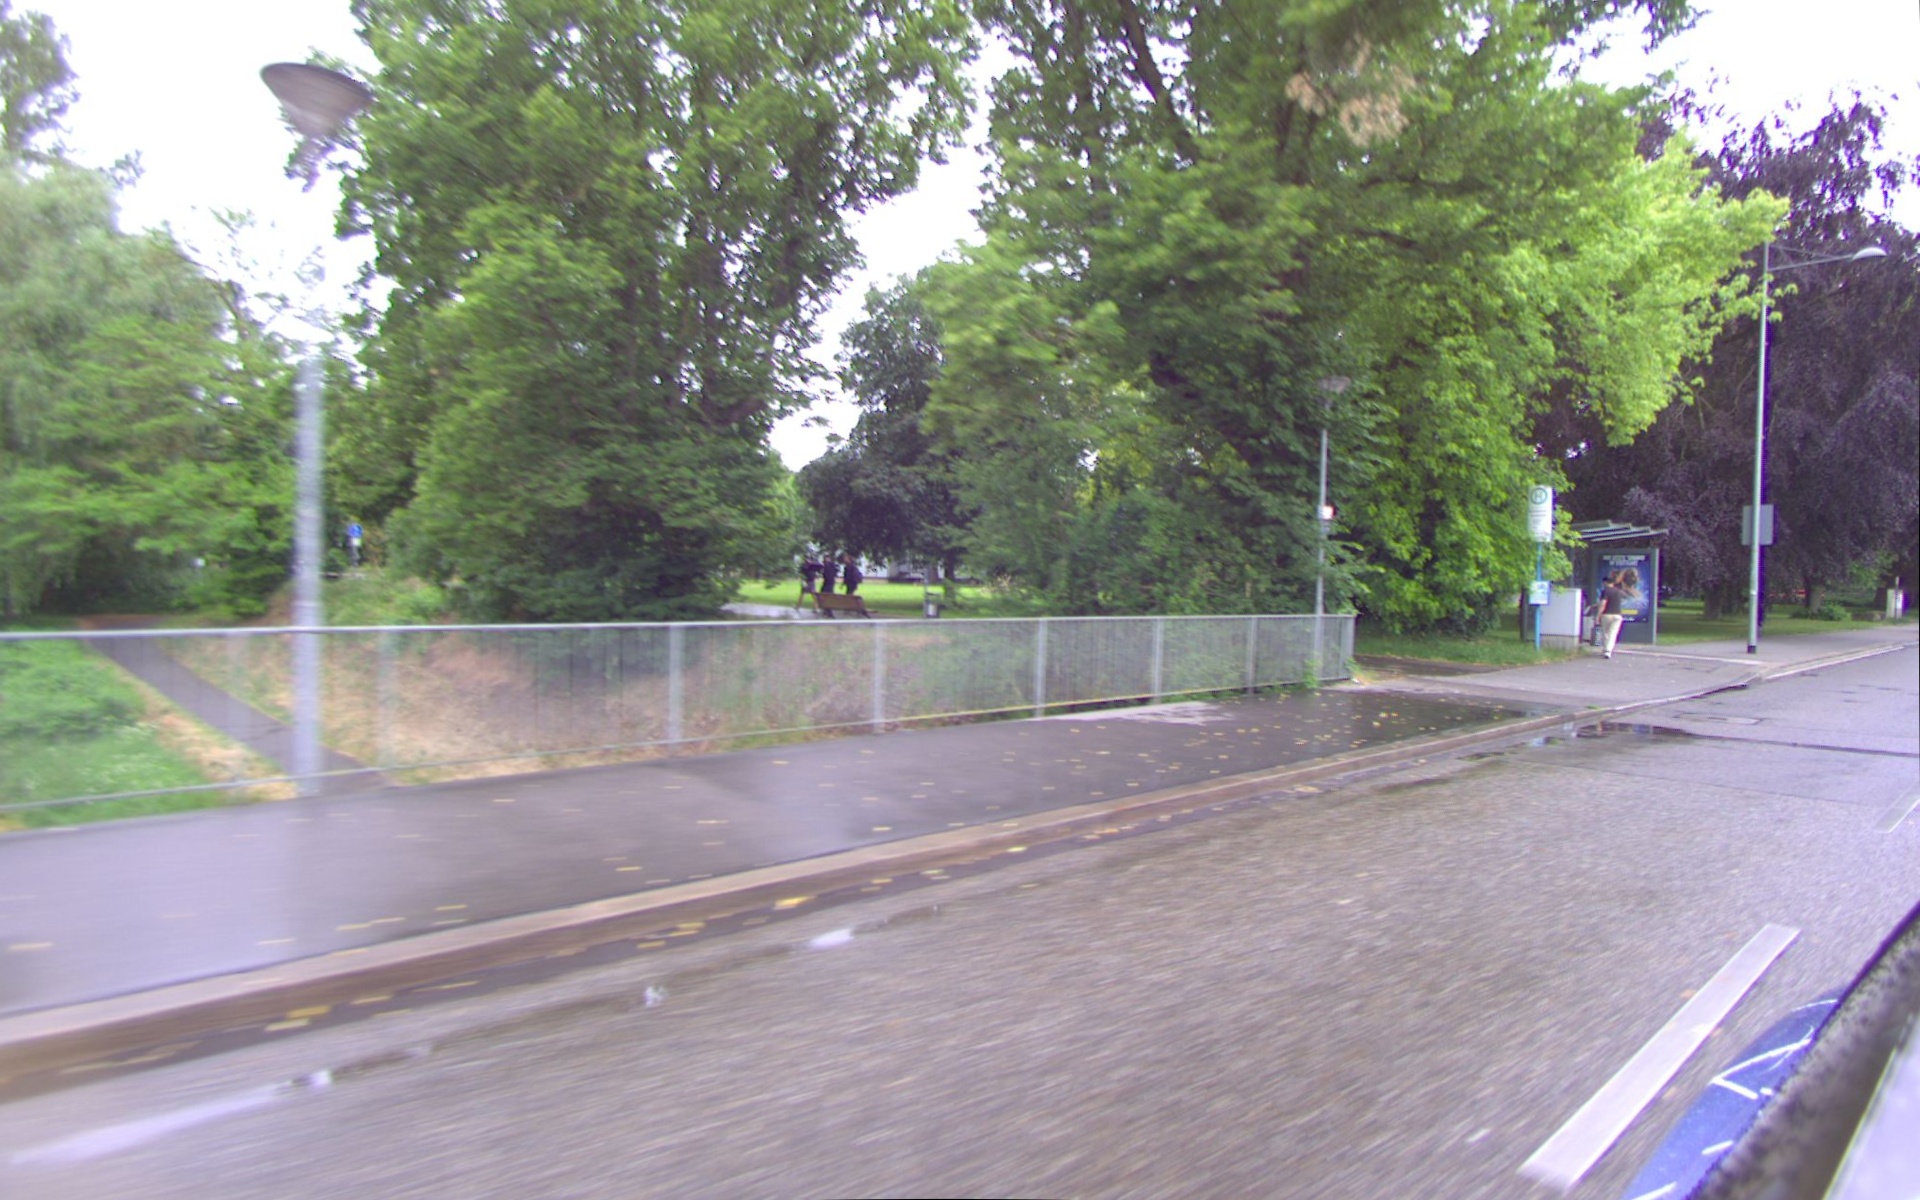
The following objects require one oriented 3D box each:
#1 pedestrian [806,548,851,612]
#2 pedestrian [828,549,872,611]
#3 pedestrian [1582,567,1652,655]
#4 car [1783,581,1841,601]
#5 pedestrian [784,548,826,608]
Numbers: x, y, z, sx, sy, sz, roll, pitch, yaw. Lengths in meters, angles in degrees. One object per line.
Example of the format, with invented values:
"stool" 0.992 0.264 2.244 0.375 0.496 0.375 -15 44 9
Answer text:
"pedestrian" -3.731 -0.575 28.659 1.057 1.774 0.770 2 2 44
"pedestrian" -3.208 -0.587 29.543 1.057 1.774 0.770 2 2 44
"pedestrian" 13.403 0.207 20.643 1.147 1.696 0.849 -1 4 -41
"car" 81.681 -0.914 97.031 1.966 1.737 3.992 0 3 -43
"pedestrian" -4.661 -0.665 30.482 1.057 1.774 0.770 2 2 44
